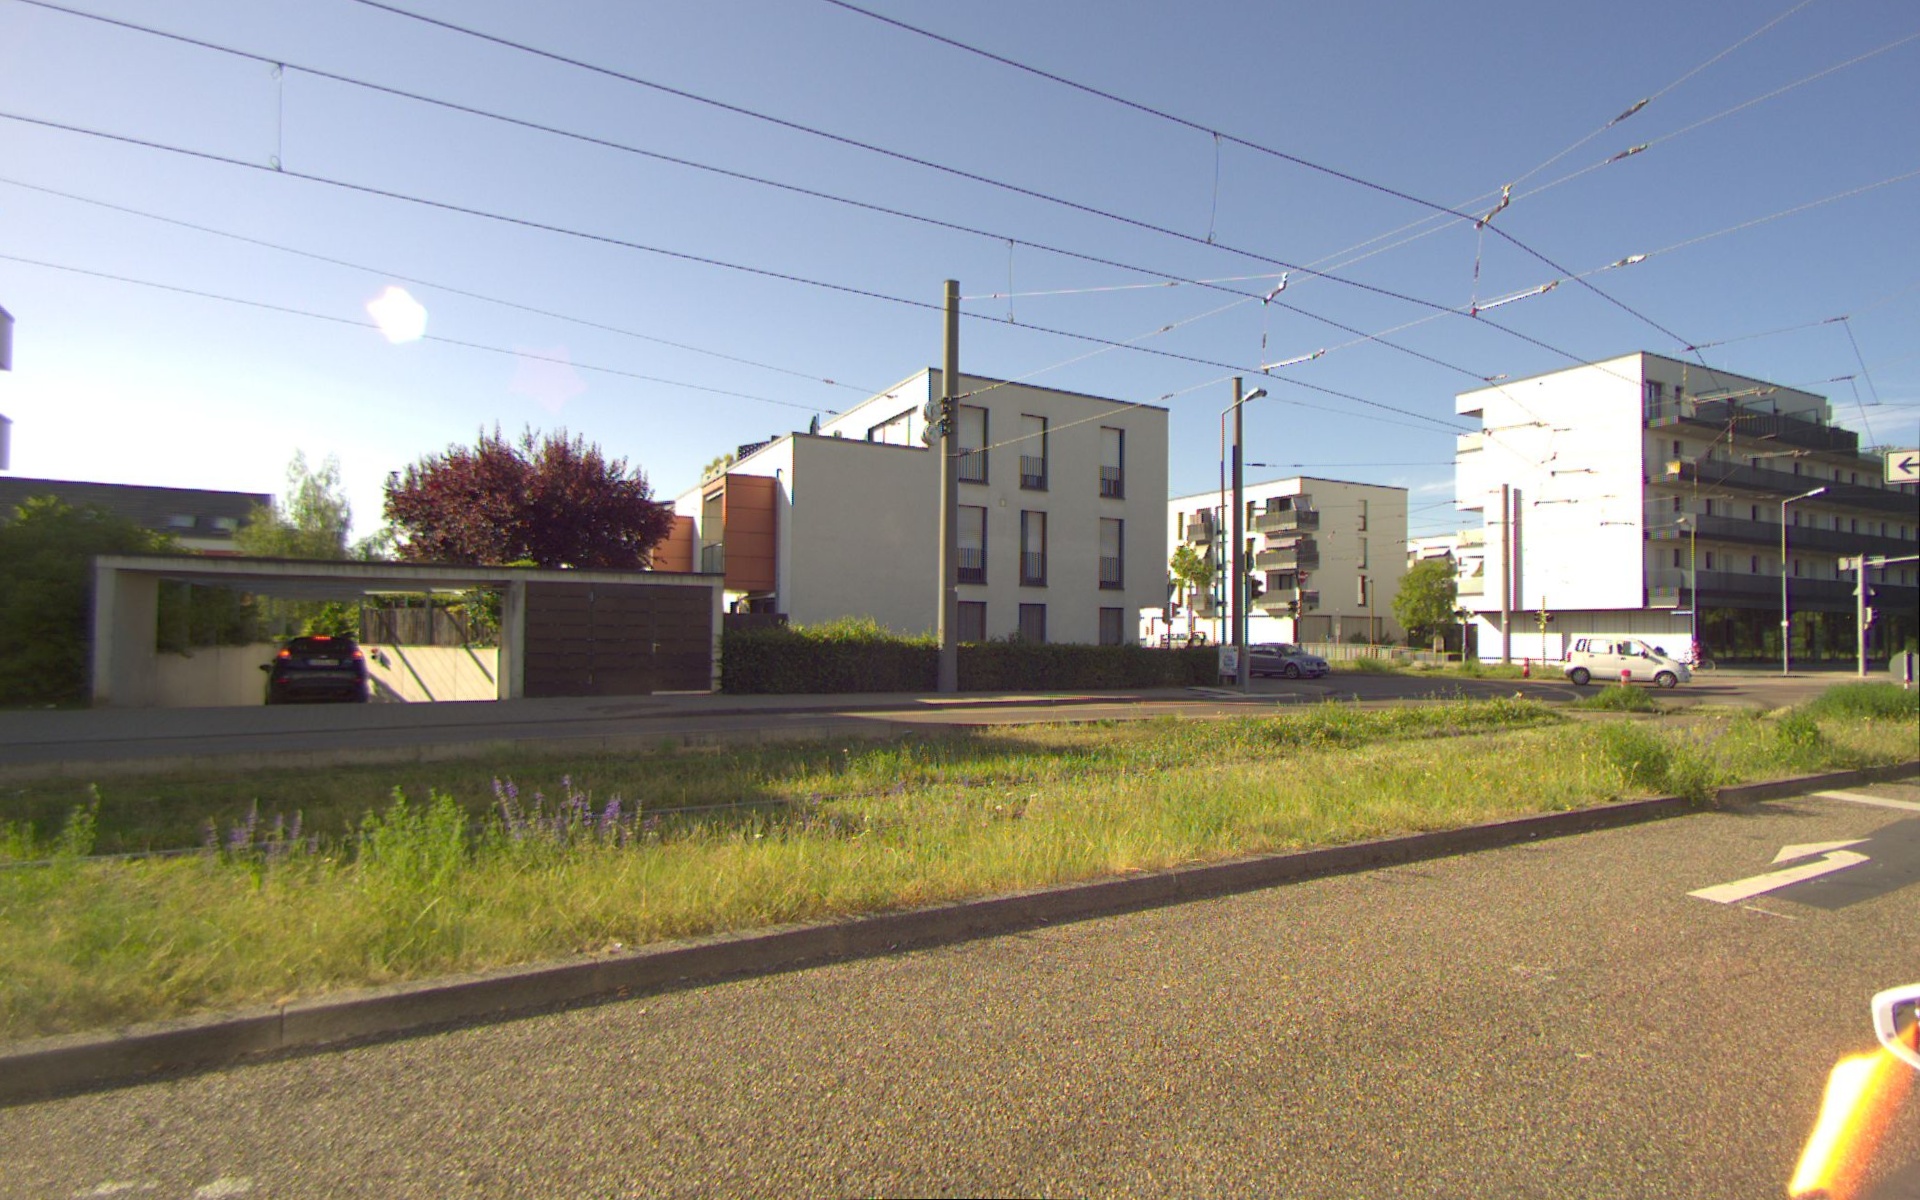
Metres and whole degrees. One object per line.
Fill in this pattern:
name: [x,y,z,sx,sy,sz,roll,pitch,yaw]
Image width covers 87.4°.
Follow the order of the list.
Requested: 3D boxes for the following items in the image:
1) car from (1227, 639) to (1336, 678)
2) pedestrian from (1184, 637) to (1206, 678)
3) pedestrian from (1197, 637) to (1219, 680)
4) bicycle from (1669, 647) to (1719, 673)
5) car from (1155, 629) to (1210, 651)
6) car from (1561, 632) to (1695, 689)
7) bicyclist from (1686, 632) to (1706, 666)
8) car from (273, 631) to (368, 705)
car: [13.333,2.396,41.832,1.851,1.505,4.070,2,-2,-35]
pedestrian: [9.521,2.321,40.751,0.758,1.626,0.743,2,0,8]
pedestrian: [9.910,2.330,40.117,0.758,1.626,0.743,2,0,8]
bicycle: [35.804,2.927,49.041,1.826,1.139,0.822,2,0,26]
car: [17.774,3.174,80.355,1.974,1.595,4.309,2,0,-27]
car: [22.128,1.950,33.364,3.625,1.743,1.864,0,-1,35]
bicyclist: [35.894,2.378,49.007,0.629,1.635,0.784,2,0,26]
car: [-13.653,1.494,21.427,1.560,1.344,3.966,2,-7,-33]
